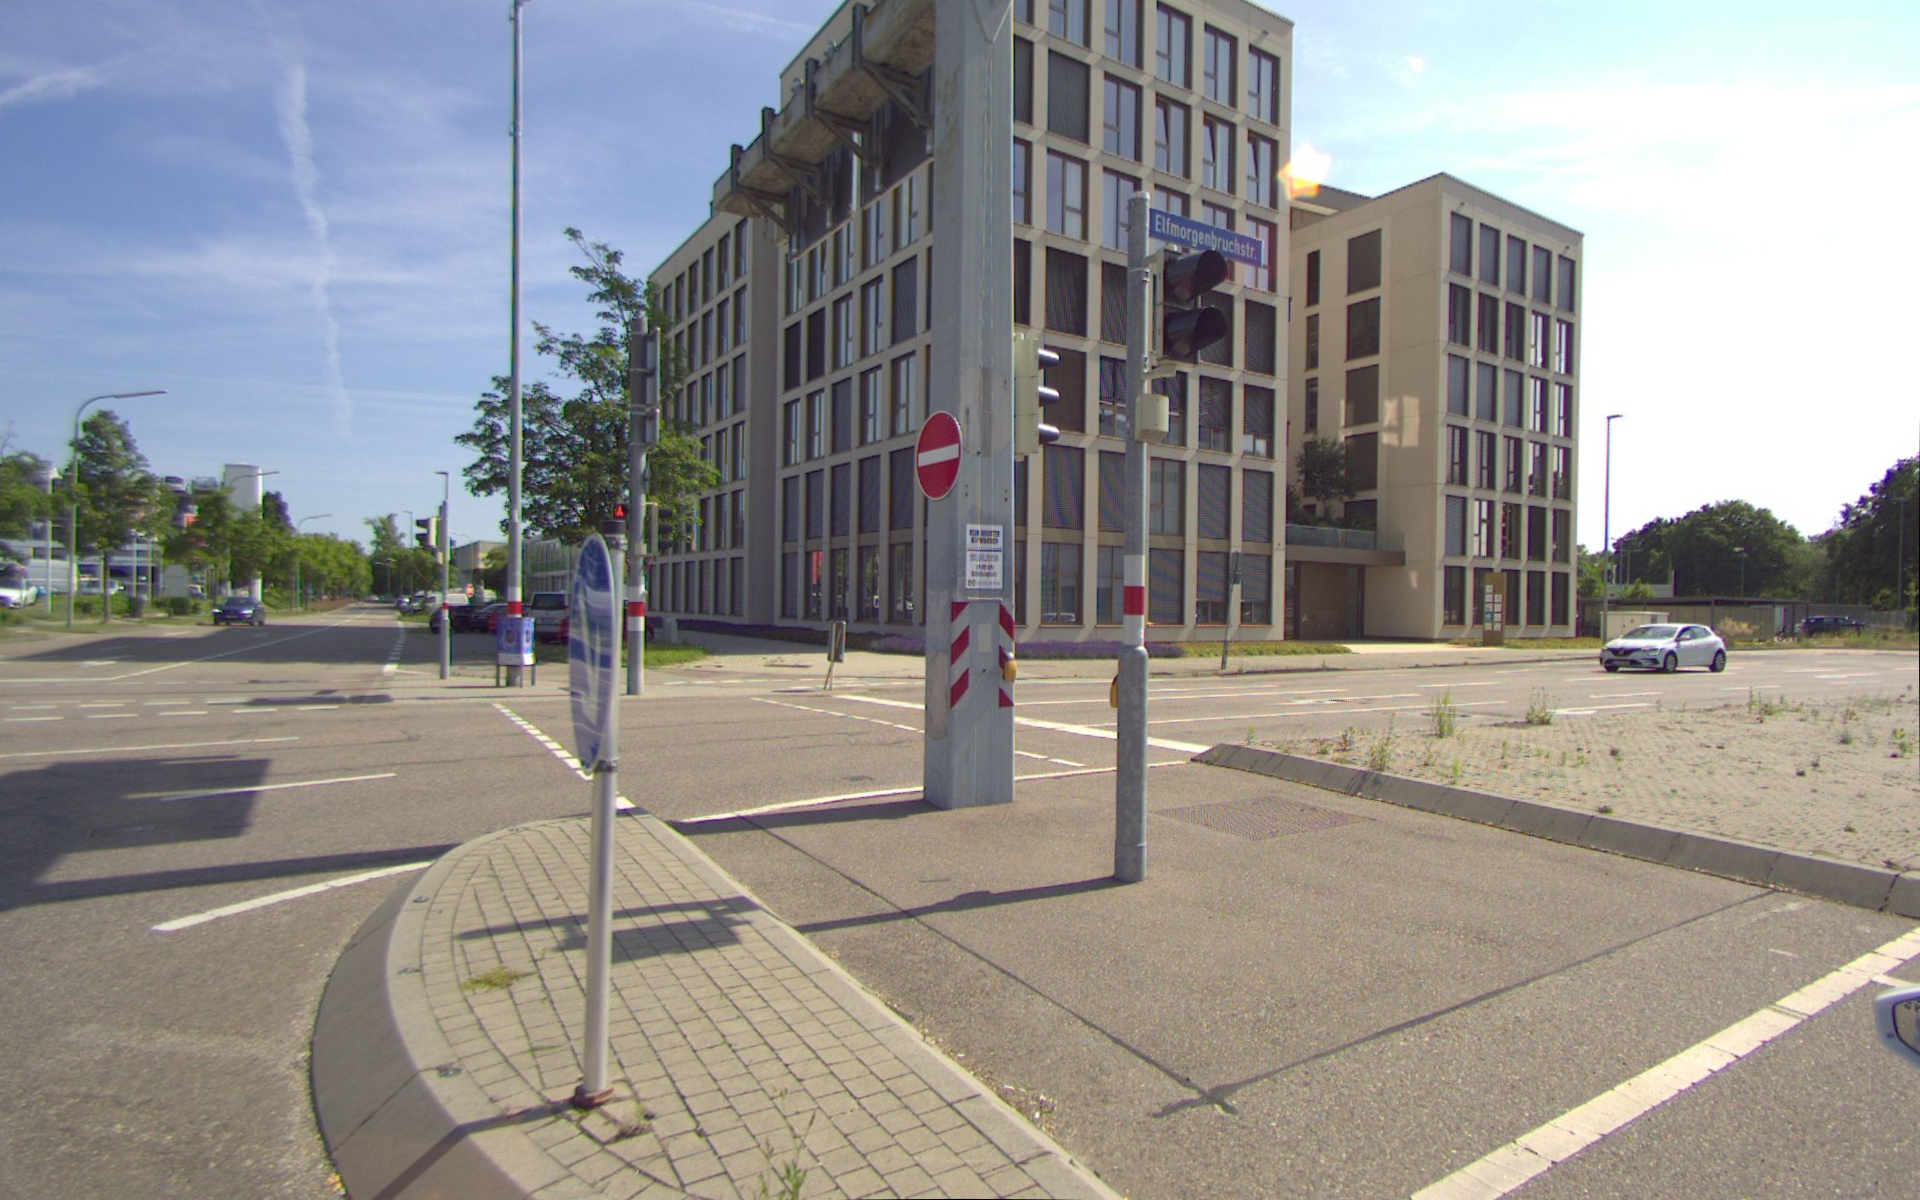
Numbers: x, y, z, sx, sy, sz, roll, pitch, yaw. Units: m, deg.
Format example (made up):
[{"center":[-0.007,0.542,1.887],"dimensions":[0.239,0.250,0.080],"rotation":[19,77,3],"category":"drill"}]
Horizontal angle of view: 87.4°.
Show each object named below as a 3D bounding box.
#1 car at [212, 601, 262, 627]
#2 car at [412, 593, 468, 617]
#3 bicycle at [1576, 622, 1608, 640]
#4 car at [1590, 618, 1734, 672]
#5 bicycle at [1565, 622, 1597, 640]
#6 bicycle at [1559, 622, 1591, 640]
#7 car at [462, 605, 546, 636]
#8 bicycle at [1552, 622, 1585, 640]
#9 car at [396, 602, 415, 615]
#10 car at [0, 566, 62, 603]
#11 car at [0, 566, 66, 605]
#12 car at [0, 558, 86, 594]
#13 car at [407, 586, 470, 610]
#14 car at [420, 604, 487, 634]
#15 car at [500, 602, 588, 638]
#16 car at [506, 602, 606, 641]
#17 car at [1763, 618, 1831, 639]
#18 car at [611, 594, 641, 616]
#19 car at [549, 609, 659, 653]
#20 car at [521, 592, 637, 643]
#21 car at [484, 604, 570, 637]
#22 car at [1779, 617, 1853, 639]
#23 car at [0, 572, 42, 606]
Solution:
[{"center":[-38.412,0.730,53.437],"dimensions":[1.639,1.307,3.776],"rotation":[1,0,-28],"category":"car"},{"center":[-45.603,0.448,88.186],"dimensions":[4.194,1.966,1.882],"rotation":[1,0,-33],"category":"car"},{"center":[42.011,2.053,66.807],"dimensions":[0.582,1.106,1.694],"rotation":[1,0,-31],"category":"bicycle"},{"center":[21.357,1.372,30.544],"dimensions":[4.277,1.480,1.775],"rotation":[3,-1,-27],"category":"car"},{"center":[40.715,2.026,65.918],"dimensions":[0.582,1.106,1.694],"rotation":[1,0,-31],"category":"bicycle"},{"center":[40.128,2.006,65.566],"dimensions":[0.582,1.106,1.694],"rotation":[1,0,-31],"category":"bicycle"},{"center":[-22.649,0.985,50.055],"dimensions":[1.686,1.434,4.002],"rotation":[1,0,14],"category":"car"},{"center":[39.454,1.989,65.138],"dimensions":[0.582,1.106,1.694],"rotation":[1,0,-31],"category":"bicycle"},{"center":[-73.625,1.137,133.249],"dimensions":[2.014,1.739,3.966],"rotation":[1,0,-31],"category":"car"},{"center":[-53.763,-0.882,56.414],"dimensions":[4.703,2.040,1.981],"rotation":[1,0,-35],"category":"car"},{"center":[-52.073,-0.805,54.787],"dimensions":[4.703,2.040,1.981],"rotation":[1,0,-35],"category":"car"},{"center":[-54.874,-1.397,59.269],"dimensions":[4.703,2.040,1.981],"rotation":[1,0,-35],"category":"car"},{"center":[-56.107,-0.174,108.092],"dimensions":[5.834,2.464,2.357],"rotation":[1,0,-30],"category":"car"},{"center":[-25.546,0.946,50.759],"dimensions":[1.639,1.434,3.615],"rotation":[0,0,-2],"category":"car"},{"center":[-18.651,0.863,45.199],"dimensions":[1.628,1.518,3.965],"rotation":[1,0,14],"category":"car"},{"center":[-16.728,0.858,41.777],"dimensions":[1.771,1.533,4.001],"rotation":[1,0,16],"category":"car"},{"center":[65.775,2.254,79.008],"dimensions":[4.049,1.439,1.721],"rotation":[2,-1,39],"category":"car"},{"center":[-27.668,0.430,83.123],"dimensions":[1.680,1.706,3.934],"rotation":[1,0,-29],"category":"car"},{"center":[-12.724,1.074,36.135],"dimensions":[1.771,1.434,4.032],"rotation":[1,0,15],"category":"car"},{"center":[-14.752,0.648,39.185],"dimensions":[1.859,1.846,4.816],"rotation":[1,0,13],"category":"car"},{"center":[-20.560,0.938,47.882],"dimensions":[1.655,1.500,4.002],"rotation":[1,0,14],"category":"car"},{"center":[63.086,2.065,74.093],"dimensions":[4.049,1.439,1.721],"rotation":[2,-1,39],"category":"car"},{"center":[-48.691,-0.580,51.425],"dimensions":[1.980,1.596,3.946],"rotation":[1,2,-35],"category":"car"}]
